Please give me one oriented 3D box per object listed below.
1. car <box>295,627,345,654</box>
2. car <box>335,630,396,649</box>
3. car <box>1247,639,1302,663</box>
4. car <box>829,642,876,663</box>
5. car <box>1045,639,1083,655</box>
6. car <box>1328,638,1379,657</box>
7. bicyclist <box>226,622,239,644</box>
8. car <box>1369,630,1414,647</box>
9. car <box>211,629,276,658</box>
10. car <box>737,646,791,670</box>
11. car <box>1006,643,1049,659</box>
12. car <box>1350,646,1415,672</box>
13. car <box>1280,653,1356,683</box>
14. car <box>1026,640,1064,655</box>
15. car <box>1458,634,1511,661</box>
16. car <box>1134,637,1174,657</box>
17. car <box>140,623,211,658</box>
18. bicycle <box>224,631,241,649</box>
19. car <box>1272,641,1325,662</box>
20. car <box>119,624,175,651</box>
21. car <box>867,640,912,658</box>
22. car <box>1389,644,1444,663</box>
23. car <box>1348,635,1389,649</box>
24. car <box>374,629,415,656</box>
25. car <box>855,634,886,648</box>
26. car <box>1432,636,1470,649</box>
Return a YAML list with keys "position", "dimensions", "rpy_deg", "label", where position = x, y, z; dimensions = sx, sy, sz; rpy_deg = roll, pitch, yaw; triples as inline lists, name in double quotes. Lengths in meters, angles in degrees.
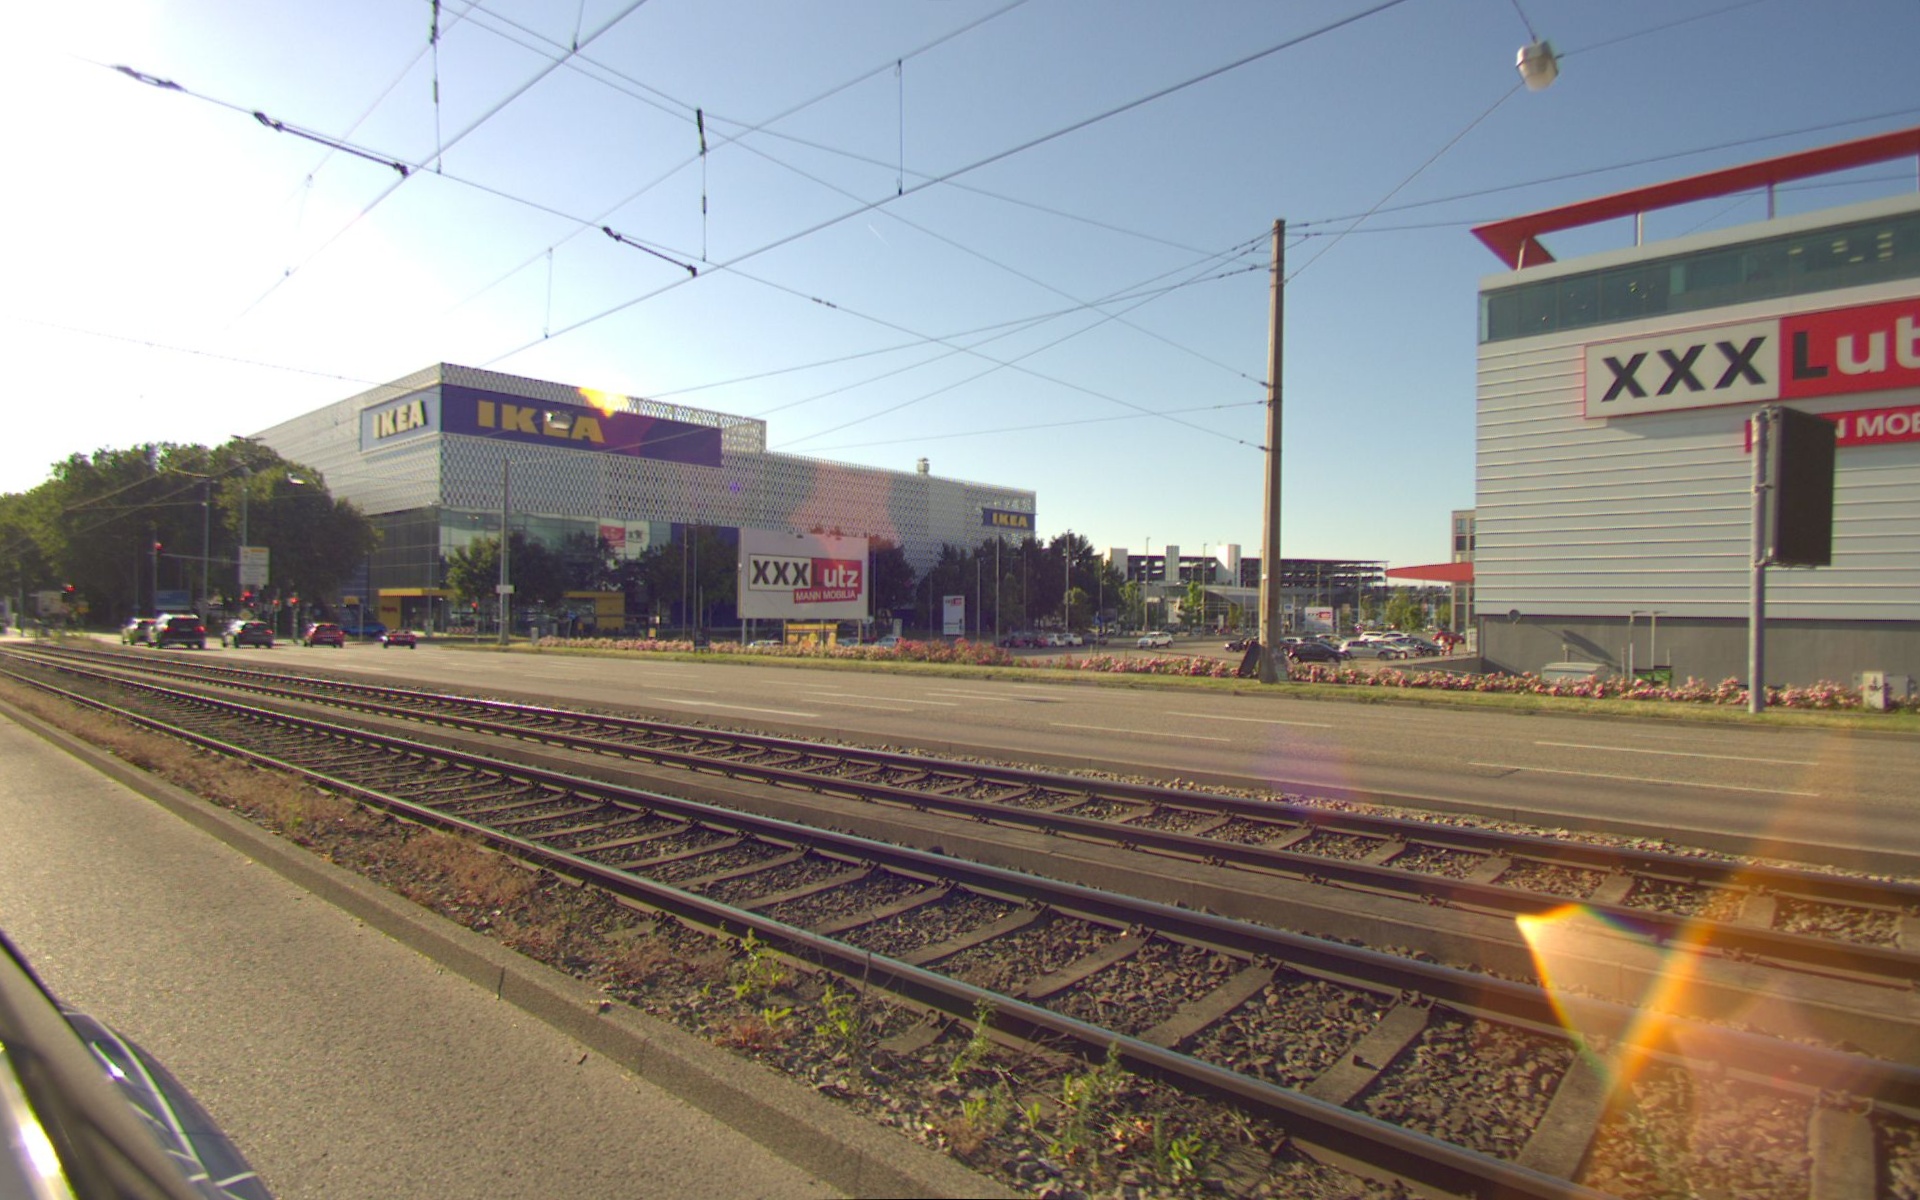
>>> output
- position: [-38.085, 2.414, 60.202]
  dimensions: [1.911, 1.488, 4.138]
  rpy_deg: [4, -3, -40]
  label: "car"
- position: [-52.396, 3.530, 89.232]
  dimensions: [4.194, 1.509, 2.018]
  rpy_deg: [4, -3, -44]
  label: "car"
- position: [26.814, 4.314, 86.378]
  dimensions: [3.997, 1.827, 1.973]
  rpy_deg: [-1, 1, 41]
  label: "car"
- position: [-9.731, 4.727, 91.401]
  dimensions: [3.994, 1.758, 1.911]
  rpy_deg: [-1, 1, 38]
  label: "car"
- position: [11.754, 5.289, 114.351]
  dimensions: [3.999, 1.668, 1.777]
  rpy_deg: [-1, -2, 42]
  label: "car"
- position: [36.555, 4.384, 94.065]
  dimensions: [3.994, 1.631, 1.856]
  rpy_deg: [-1, 1, 38]
  label: "car"
- position: [-50.572, 2.283, 70.350]
  dimensions: [0.751, 1.534, 0.581]
  rpy_deg: [-1, -1, 42]
  label: "bicyclist"
- position: [44.496, 4.002, 104.364]
  dimensions: [3.991, 1.631, 1.857]
  rpy_deg: [-1, 1, 35]
  label: "car"
- position: [-38.326, 2.322, 54.138]
  dimensions: [4.134, 1.472, 1.838]
  rpy_deg: [-1, -2, 40]
  label: "car"
- position: [-16.368, 4.827, 84.609]
  dimensions: [4.409, 1.723, 1.975]
  rpy_deg: [-1, 1, 37]
  label: "car"
- position: [7.237, 5.424, 108.409]
  dimensions: [4.432, 1.563, 1.652]
  rpy_deg: [-1, 1, 37]
  label: "car"
- position: [30.876, 4.273, 74.024]
  dimensions: [3.997, 1.715, 1.901]
  rpy_deg: [-1, 1, 41]
  label: "car"
- position: [24.150, 4.564, 68.325]
  dimensions: [4.445, 1.715, 1.901]
  rpy_deg: [-1, 1, 41]
  label: "car"
- position: [9.464, 5.272, 112.503]
  dimensions: [3.999, 1.668, 1.704]
  rpy_deg: [-1, -2, 42]
  label: "car"
- position: [40.039, 3.615, 77.220]
  dimensions: [3.290, 1.869, 1.489]
  rpy_deg: [-1, 1, 43]
  label: "car"
- position: [20.485, 4.988, 106.907]
  dimensions: [4.161, 1.813, 1.830]
  rpy_deg: [-2, 1, -37]
  label: "car"
- position: [-39.097, 2.002, 50.409]
  dimensions: [4.657, 1.668, 1.972]
  rpy_deg: [-1, -3, 42]
  label: "car"
- position: [-50.554, 2.767, 70.331]
  dimensions: [1.991, 1.176, 0.581]
  rpy_deg: [-1, -1, 42]
  label: "bicycle"
- position: [29.313, 4.471, 87.668]
  dimensions: [3.994, 1.631, 1.856]
  rpy_deg: [-1, 1, 38]
  label: "car"
- position: [-45.116, 2.072, 56.150]
  dimensions: [4.107, 1.459, 1.764]
  rpy_deg: [-1, -3, 42]
  label: "car"
- position: [-6.626, 4.582, 95.064]
  dimensions: [3.994, 1.605, 1.911]
  rpy_deg: [-1, 1, 38]
  label: "car"
- position: [36.437, 4.274, 80.899]
  dimensions: [3.666, 1.379, 1.635]
  rpy_deg: [-1, 1, 43]
  label: "car"
- position: [48.321, 4.925, 119.750]
  dimensions: [4.001, 1.459, 1.853]
  rpy_deg: [-1, 1, 44]
  label: "car"
- position: [-35.028, 2.623, 62.649]
  dimensions: [1.796, 1.655, 4.010]
  rpy_deg: [2, -3, -34]
  label: "car"
- position: [-10.796, 4.955, 122.257]
  dimensions: [1.770, 1.471, 3.538]
  rpy_deg: [0, -3, 40]
  label: "car"
- position: [57.672, 4.946, 118.933]
  dimensions: [1.635, 1.379, 3.668]
  rpy_deg: [-2, 1, -45]
  label: "car"
